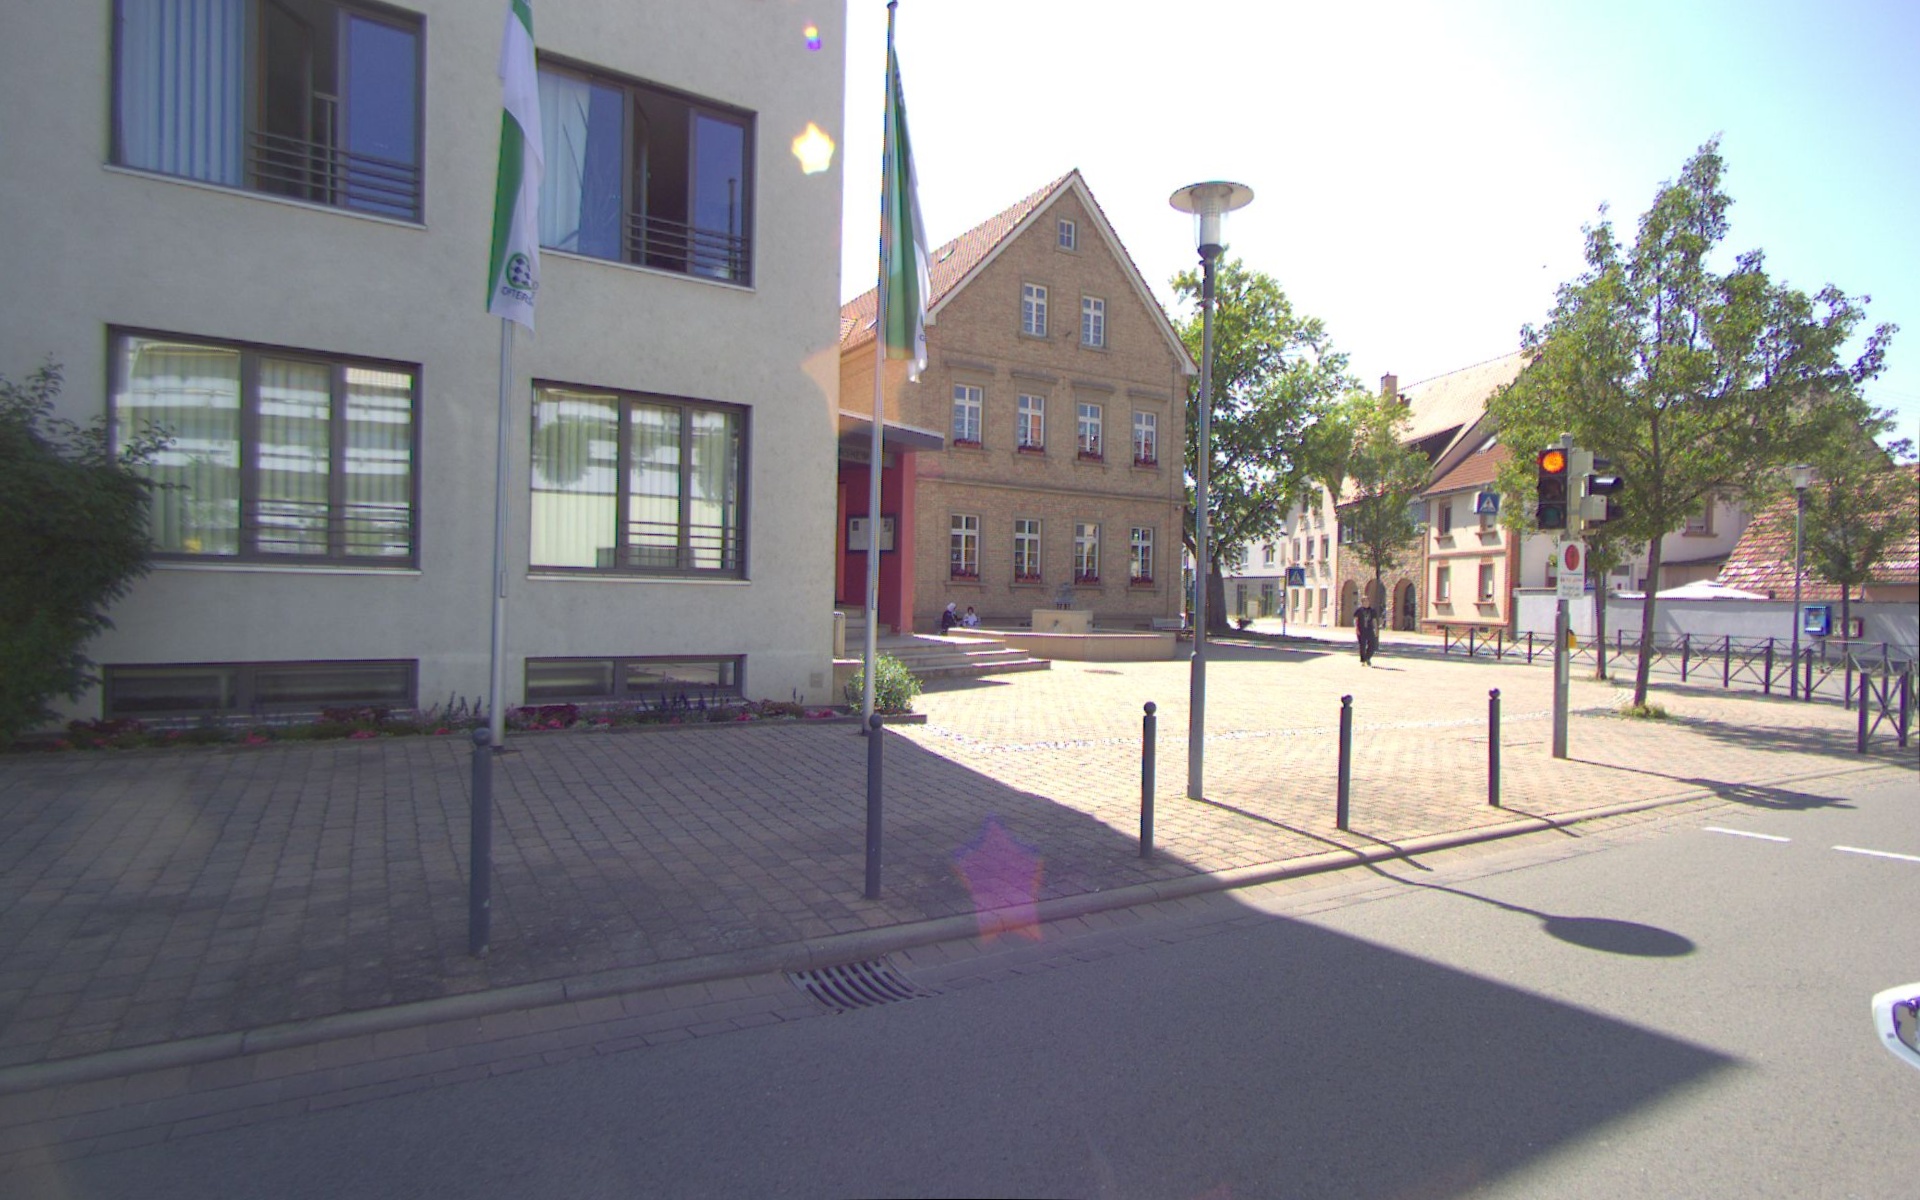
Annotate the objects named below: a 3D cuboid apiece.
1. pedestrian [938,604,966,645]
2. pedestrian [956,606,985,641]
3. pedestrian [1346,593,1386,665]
[{"bbox_3d":[-0.243,0.729,29.963,0.610,1.186,0.636,1,0,-29],"label":"pedestrian"},{"bbox_3d":[0.314,0.715,30.400,0.610,1.041,0.636,1,0,-29],"label":"pedestrian"},{"bbox_3d":[9.794,0.696,24.241,0.798,1.676,0.851,2,1,19],"label":"pedestrian"}]
